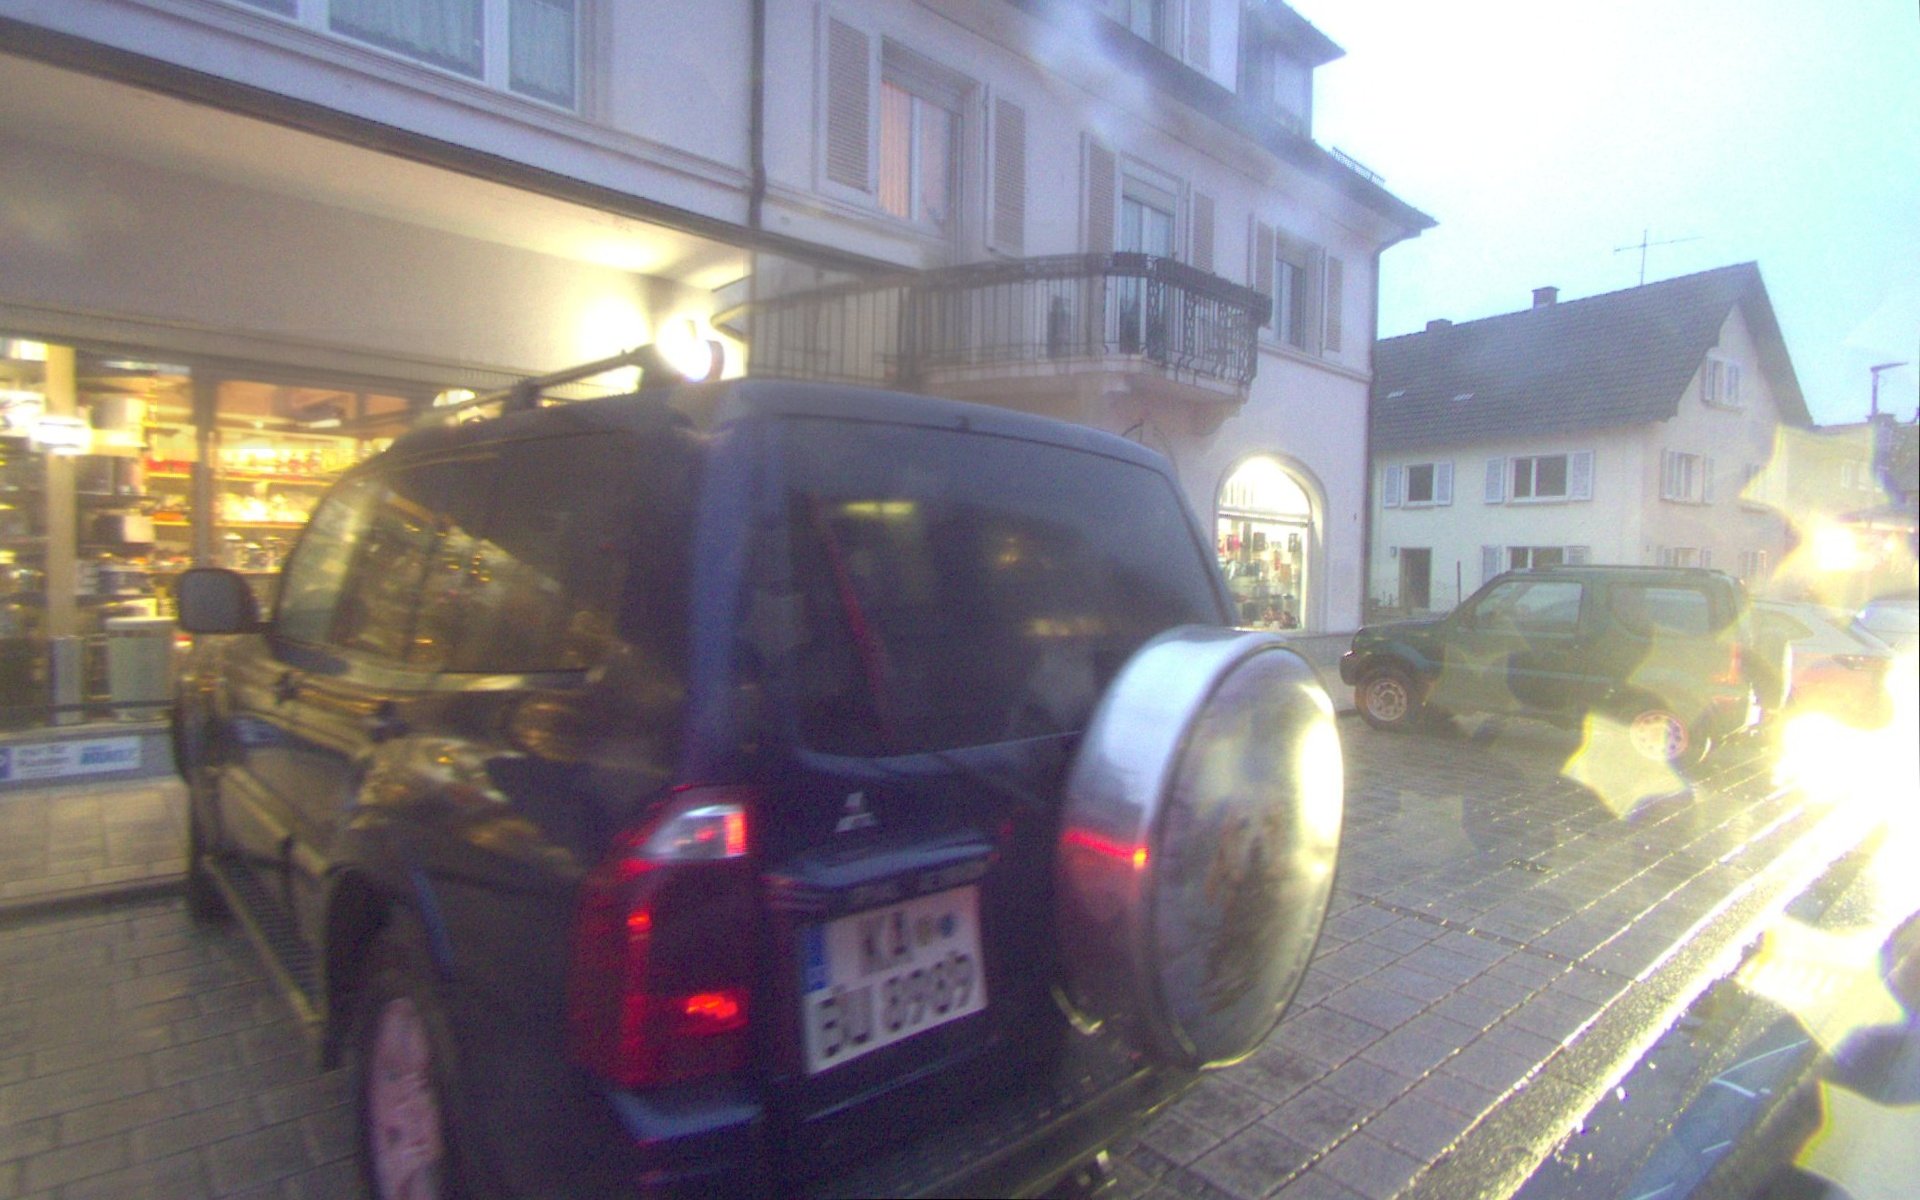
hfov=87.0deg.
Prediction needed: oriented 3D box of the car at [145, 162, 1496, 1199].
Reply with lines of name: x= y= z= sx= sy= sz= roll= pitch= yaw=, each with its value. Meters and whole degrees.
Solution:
car: x=-1.109 y=0.402 z=3.251 sx=1.913 sy=1.797 sz=4.608 roll=1 pitch=2 yaw=-44

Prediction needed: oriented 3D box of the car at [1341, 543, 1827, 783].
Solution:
car: x=5.681 y=0.413 z=9.473 sx=1.688 sy=1.701 sz=3.507 roll=1 pitch=4 yaw=-45

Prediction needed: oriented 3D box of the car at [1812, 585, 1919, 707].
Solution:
car: x=14.479 y=0.648 z=15.008 sx=4.586 sy=1.566 sz=1.888 roll=1 pitch=3 yaw=-38

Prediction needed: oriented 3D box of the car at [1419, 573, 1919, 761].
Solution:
car: x=7.811 y=0.556 z=11.299 sx=1.865 sy=1.491 sz=4.476 roll=1 pitch=3 yaw=-41
